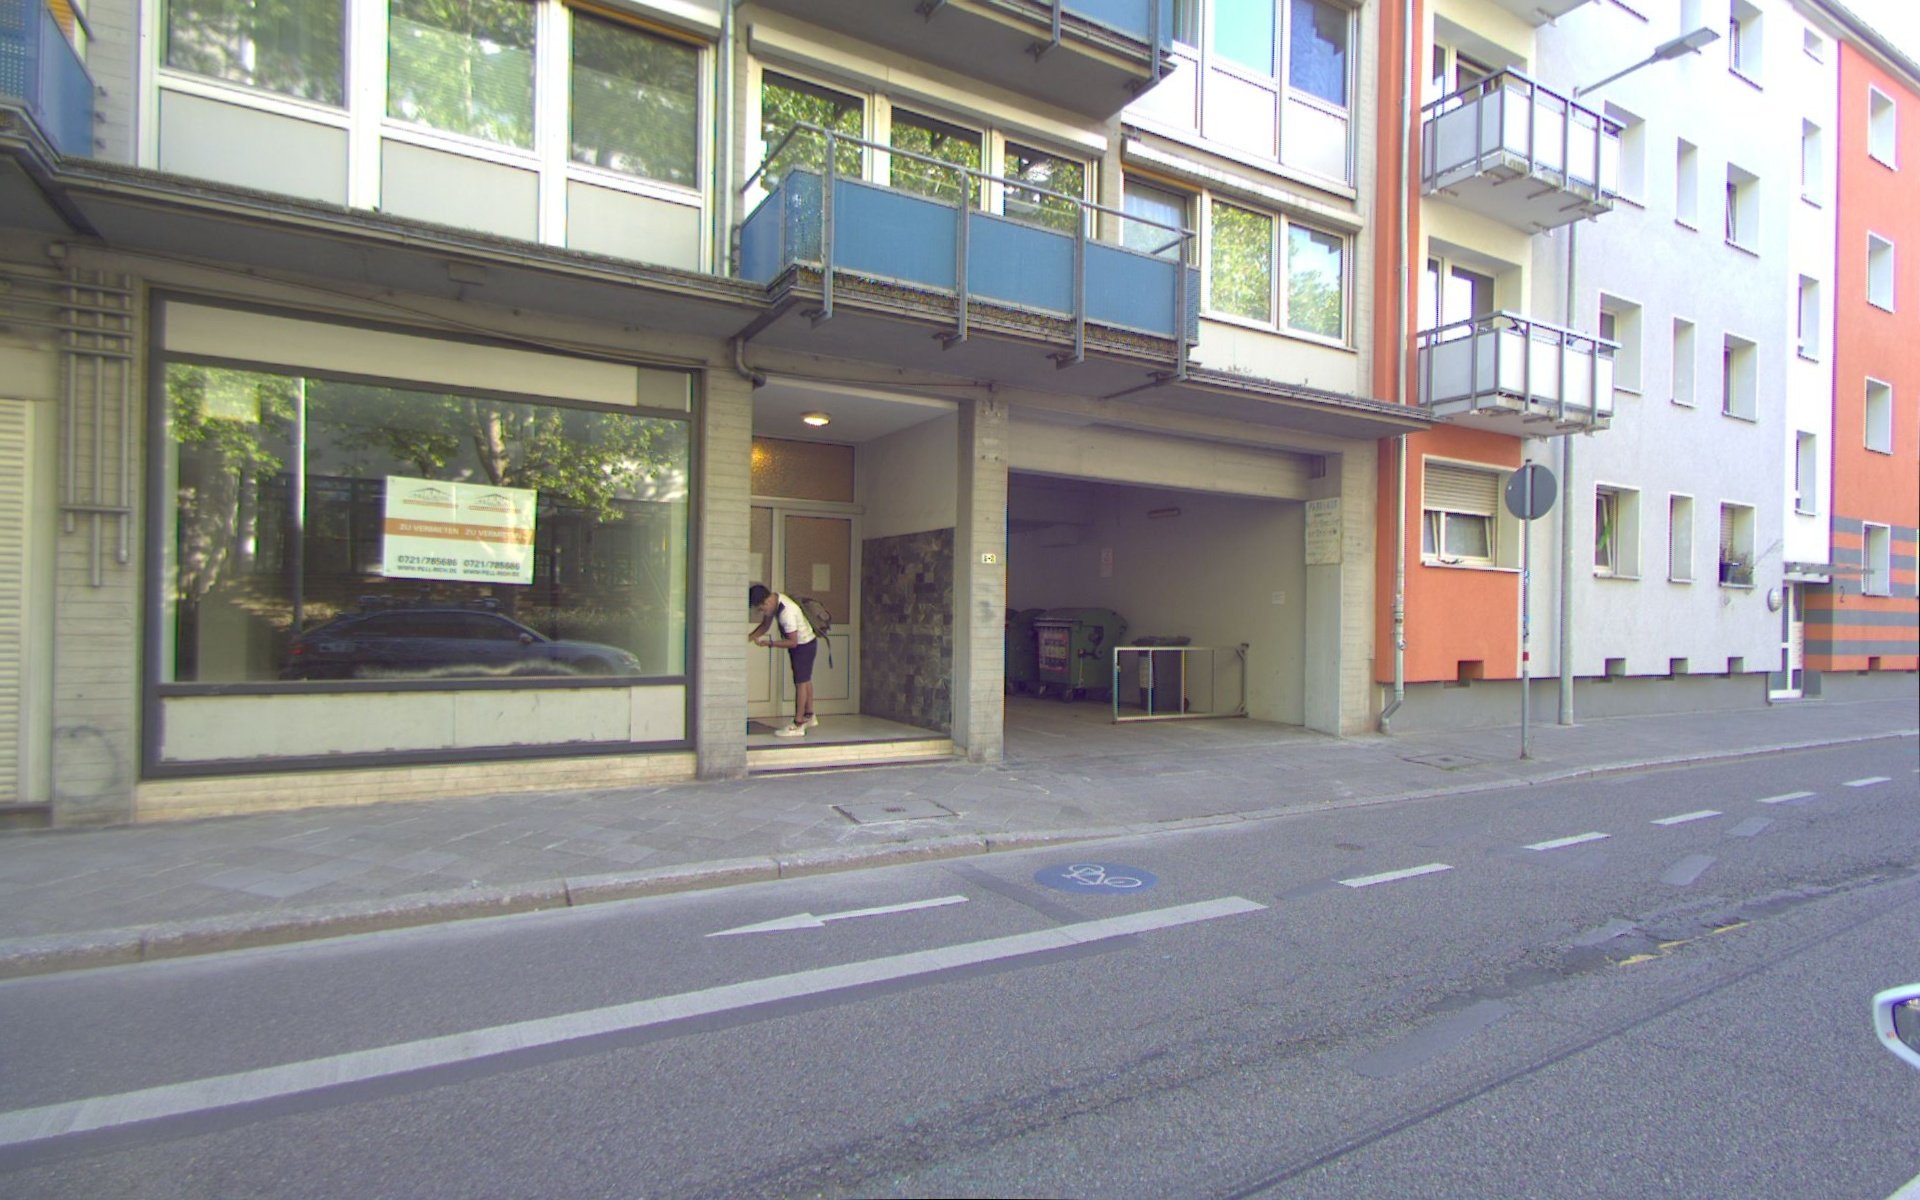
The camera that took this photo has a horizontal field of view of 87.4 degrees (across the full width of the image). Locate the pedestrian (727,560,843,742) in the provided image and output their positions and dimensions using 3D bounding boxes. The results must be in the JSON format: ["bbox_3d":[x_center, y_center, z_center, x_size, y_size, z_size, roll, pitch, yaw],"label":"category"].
[{"bbox_3d":[-1.633,0.461,9.350,0.914,1.606,0.561,1,0,-29],"label":"pedestrian"}]

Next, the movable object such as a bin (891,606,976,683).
[{"bbox_3d":[-0.539,0.864,19.931,1.182,1.452,1.300,2,0,-30],"label":"movable object such as a bin"}]

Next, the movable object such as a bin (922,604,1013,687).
[{"bbox_3d":[0.128,0.833,18.766,1.182,1.452,1.300,2,0,-30],"label":"movable object such as a bin"}]

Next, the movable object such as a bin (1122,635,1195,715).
[{"bbox_3d":[2.859,1.065,14.523,0.707,1.089,0.735,2,0,-30],"label":"movable object such as a bin"}]

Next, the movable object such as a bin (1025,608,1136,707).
[{"bbox_3d":[1.882,0.871,15.805,1.182,1.452,1.300,2,0,-30],"label":"movable object such as a bin"}]

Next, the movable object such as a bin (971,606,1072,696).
[{"bbox_3d":[1.041,0.853,17.192,1.182,1.452,1.300,2,0,-30],"label":"movable object such as a bin"}]
